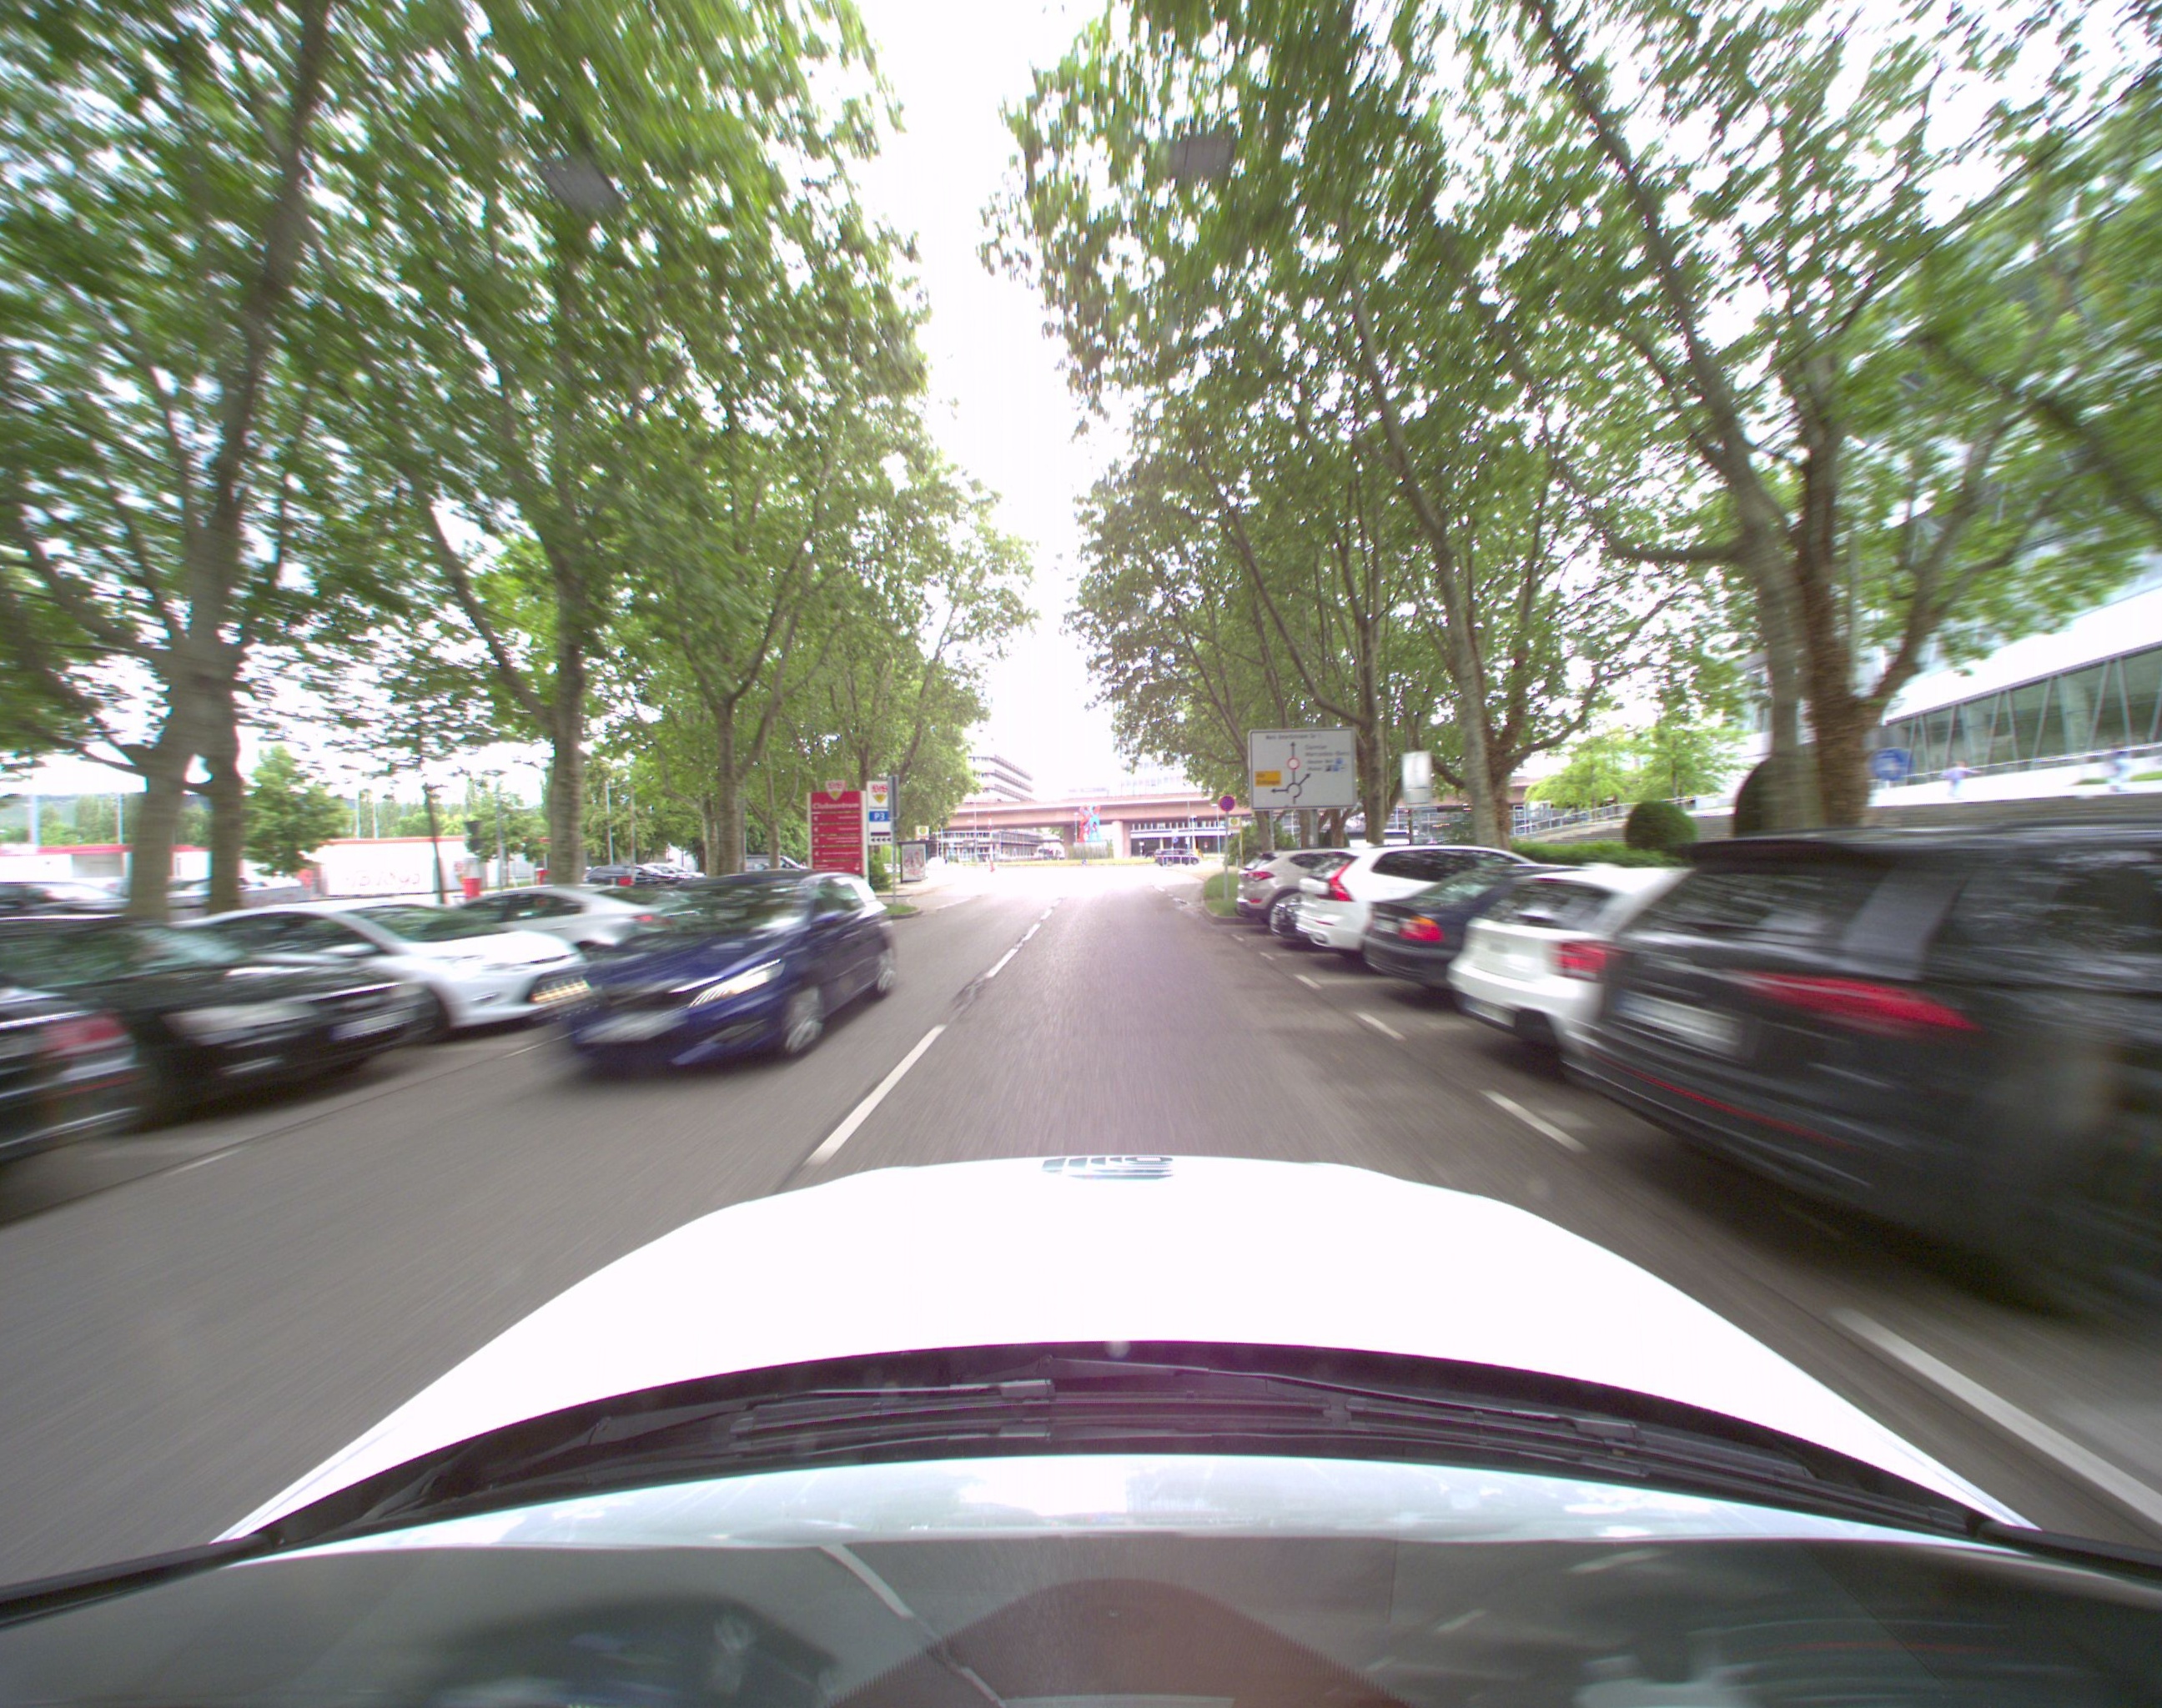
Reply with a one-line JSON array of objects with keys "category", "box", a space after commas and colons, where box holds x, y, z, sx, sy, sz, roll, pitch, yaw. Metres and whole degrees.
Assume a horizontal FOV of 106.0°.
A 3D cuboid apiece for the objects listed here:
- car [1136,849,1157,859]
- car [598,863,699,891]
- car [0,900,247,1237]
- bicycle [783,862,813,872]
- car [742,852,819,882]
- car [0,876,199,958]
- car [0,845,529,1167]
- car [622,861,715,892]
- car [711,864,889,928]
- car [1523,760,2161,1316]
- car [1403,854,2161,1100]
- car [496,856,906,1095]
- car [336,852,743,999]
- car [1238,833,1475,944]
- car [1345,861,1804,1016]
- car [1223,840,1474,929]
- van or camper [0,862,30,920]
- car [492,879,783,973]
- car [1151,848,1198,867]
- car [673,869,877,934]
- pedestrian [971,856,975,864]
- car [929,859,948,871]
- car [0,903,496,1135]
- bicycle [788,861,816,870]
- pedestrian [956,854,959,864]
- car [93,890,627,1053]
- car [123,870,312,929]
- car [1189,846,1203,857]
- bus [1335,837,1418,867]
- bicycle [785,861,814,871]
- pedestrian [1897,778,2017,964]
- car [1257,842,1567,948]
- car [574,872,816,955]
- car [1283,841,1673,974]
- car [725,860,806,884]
[{"category": "car", "box": [11.954, -0.016, 148.466, 1.974, 1.772, 4.025, -1, -1, 39]}, {"category": "car", "box": [-21.696, 1.127, 41.004, 3.973, 1.324, 2.002, -1, 0, 0]}, {"category": "car", "box": [-6.964, 1.150, 3.775, 4.112, 1.452, 2.015, -4, 0, 3]}, {"category": "bicycle", "box": [-32.978, 1.514, 94.863, 3.185, 1.097, 0.769, 0, -1, -14]}, {"category": "car", "box": [-21.489, 0.924, 58.363, 4.596, 2.025, 2.265, -1, 0, 3]}, {"category": "car", "box": [-21.981, 1.292, 17.177, 4.306, 1.548, 2.204, -1, 0, 0]}, {"category": "car", "box": [-6.764, 0.970, 5.788, 4.302, 1.810, 1.868, -3, 0, 1]}, {"category": "car", "box": [-22.125, 1.192, 43.789, 3.972, 1.522, 2.002, -1, 0, 1]}, {"category": "car", "box": [-7.298, 1.061, 21.397, 3.977, 1.540, 1.806, -1, 0, 3]}, {"category": "car", "box": [4.605, 0.582, 3.566, 4.332, 1.761, 1.925, 0, 0, 0]}, {"category": "car", "box": [4.893, 0.747, 5.954, 4.332, 1.456, 1.949, 0, 1, -1]}, {"category": "car", "box": [-3.040, 0.843, 7.601, 1.836, 1.509, 4.014, -4, 0, 0]}, {"category": "car", "box": [-7.274, 0.912, 11.310, 4.251, 1.548, 1.908, -4, 0, -1]}, {"category": "car", "box": [5.199, 0.621, 15.796, 3.972, 2.013, 2.001, 0, 1, 1]}, {"category": "car", "box": [4.868, 0.793, 8.449, 3.718, 1.402, 1.776, 0, 0, 0]}, {"category": "car", "box": [5.082, 0.556, 15.946, 4.330, 1.633, 1.926, 0, 1, 1]}, {"category": "van or camper", "box": [-34.316, 1.139, 23.833, 4.306, 1.709, 2.132, -1, 0, 0]}, {"category": "car", "box": [-7.498, 1.193, 14.055, 3.972, 1.405, 1.862, -1, 0, 1]}, {"category": "car", "box": [10.440, 0.430, 90.841, 4.787, 2.014, 2.266, -1, -1, -22]}, {"category": "car", "box": [-7.038, 1.074, 18.980, 3.975, 1.385, 1.914, -1, 0, 5]}, {"category": "pedestrian", "box": [-29.217, 1.697, 219.857, 0.773, 2.013, 0.671, -3, 0, 2]}, {"category": "car", "box": [-18.603, 1.421, 106.377, 1.897, 1.453, 4.807, -3, 0, -4]}, {"category": "car", "box": [-7.289, 1.134, 6.205, 4.176, 1.354, 1.966, -1, 0, -1]}, {"category": "bicycle", "box": [-33.284, 1.365, 97.188, 3.186, 1.097, 0.769, -1, -1, -15]}, {"category": "pedestrian", "box": [-27.185, 1.084, 179.451, 0.588, 2.014, 0.597, -1, -1, -10]}, {"category": "car", "box": [-7.380, 1.159, 8.687, 3.974, 1.404, 1.885, -1, 0, 0]}, {"category": "car", "box": [-26.661, 1.329, 25.440, 2.101, 1.552, 4.943, -1, 0, -21]}, {"category": "car", "box": [21.740, -0.469, 154.054, 1.977, 2.014, 4.019, -1, 0, 19]}, {"category": "bus", "box": [40.647, -0.265, 112.086, 11.057, 3.934, 2.747, -1, -1, -13]}, {"category": "bicycle", "box": [-33.225, 1.443, 96.210, 3.185, 1.097, 0.769, 0, -1, -14]}, {"category": "pedestrian", "box": [9.880, 0.181, 9.198, 0.786, 2.014, 0.596, -1, -1, -15]}, {"category": "car", "box": [5.225, 0.618, 13.322, 4.330, 1.605, 1.926, 0, 1, 1]}, {"category": "car", "box": [-7.662, 1.155, 16.456, 3.979, 1.493, 1.833, -1, 0, 1]}, {"category": "car", "box": [5.095, 0.648, 10.941, 4.330, 1.633, 1.926, 0, 1, 1]}, {"category": "car", "box": [-21.411, 1.222, 55.394, 4.606, 1.568, 2.111, -1, -1, 3]}]
